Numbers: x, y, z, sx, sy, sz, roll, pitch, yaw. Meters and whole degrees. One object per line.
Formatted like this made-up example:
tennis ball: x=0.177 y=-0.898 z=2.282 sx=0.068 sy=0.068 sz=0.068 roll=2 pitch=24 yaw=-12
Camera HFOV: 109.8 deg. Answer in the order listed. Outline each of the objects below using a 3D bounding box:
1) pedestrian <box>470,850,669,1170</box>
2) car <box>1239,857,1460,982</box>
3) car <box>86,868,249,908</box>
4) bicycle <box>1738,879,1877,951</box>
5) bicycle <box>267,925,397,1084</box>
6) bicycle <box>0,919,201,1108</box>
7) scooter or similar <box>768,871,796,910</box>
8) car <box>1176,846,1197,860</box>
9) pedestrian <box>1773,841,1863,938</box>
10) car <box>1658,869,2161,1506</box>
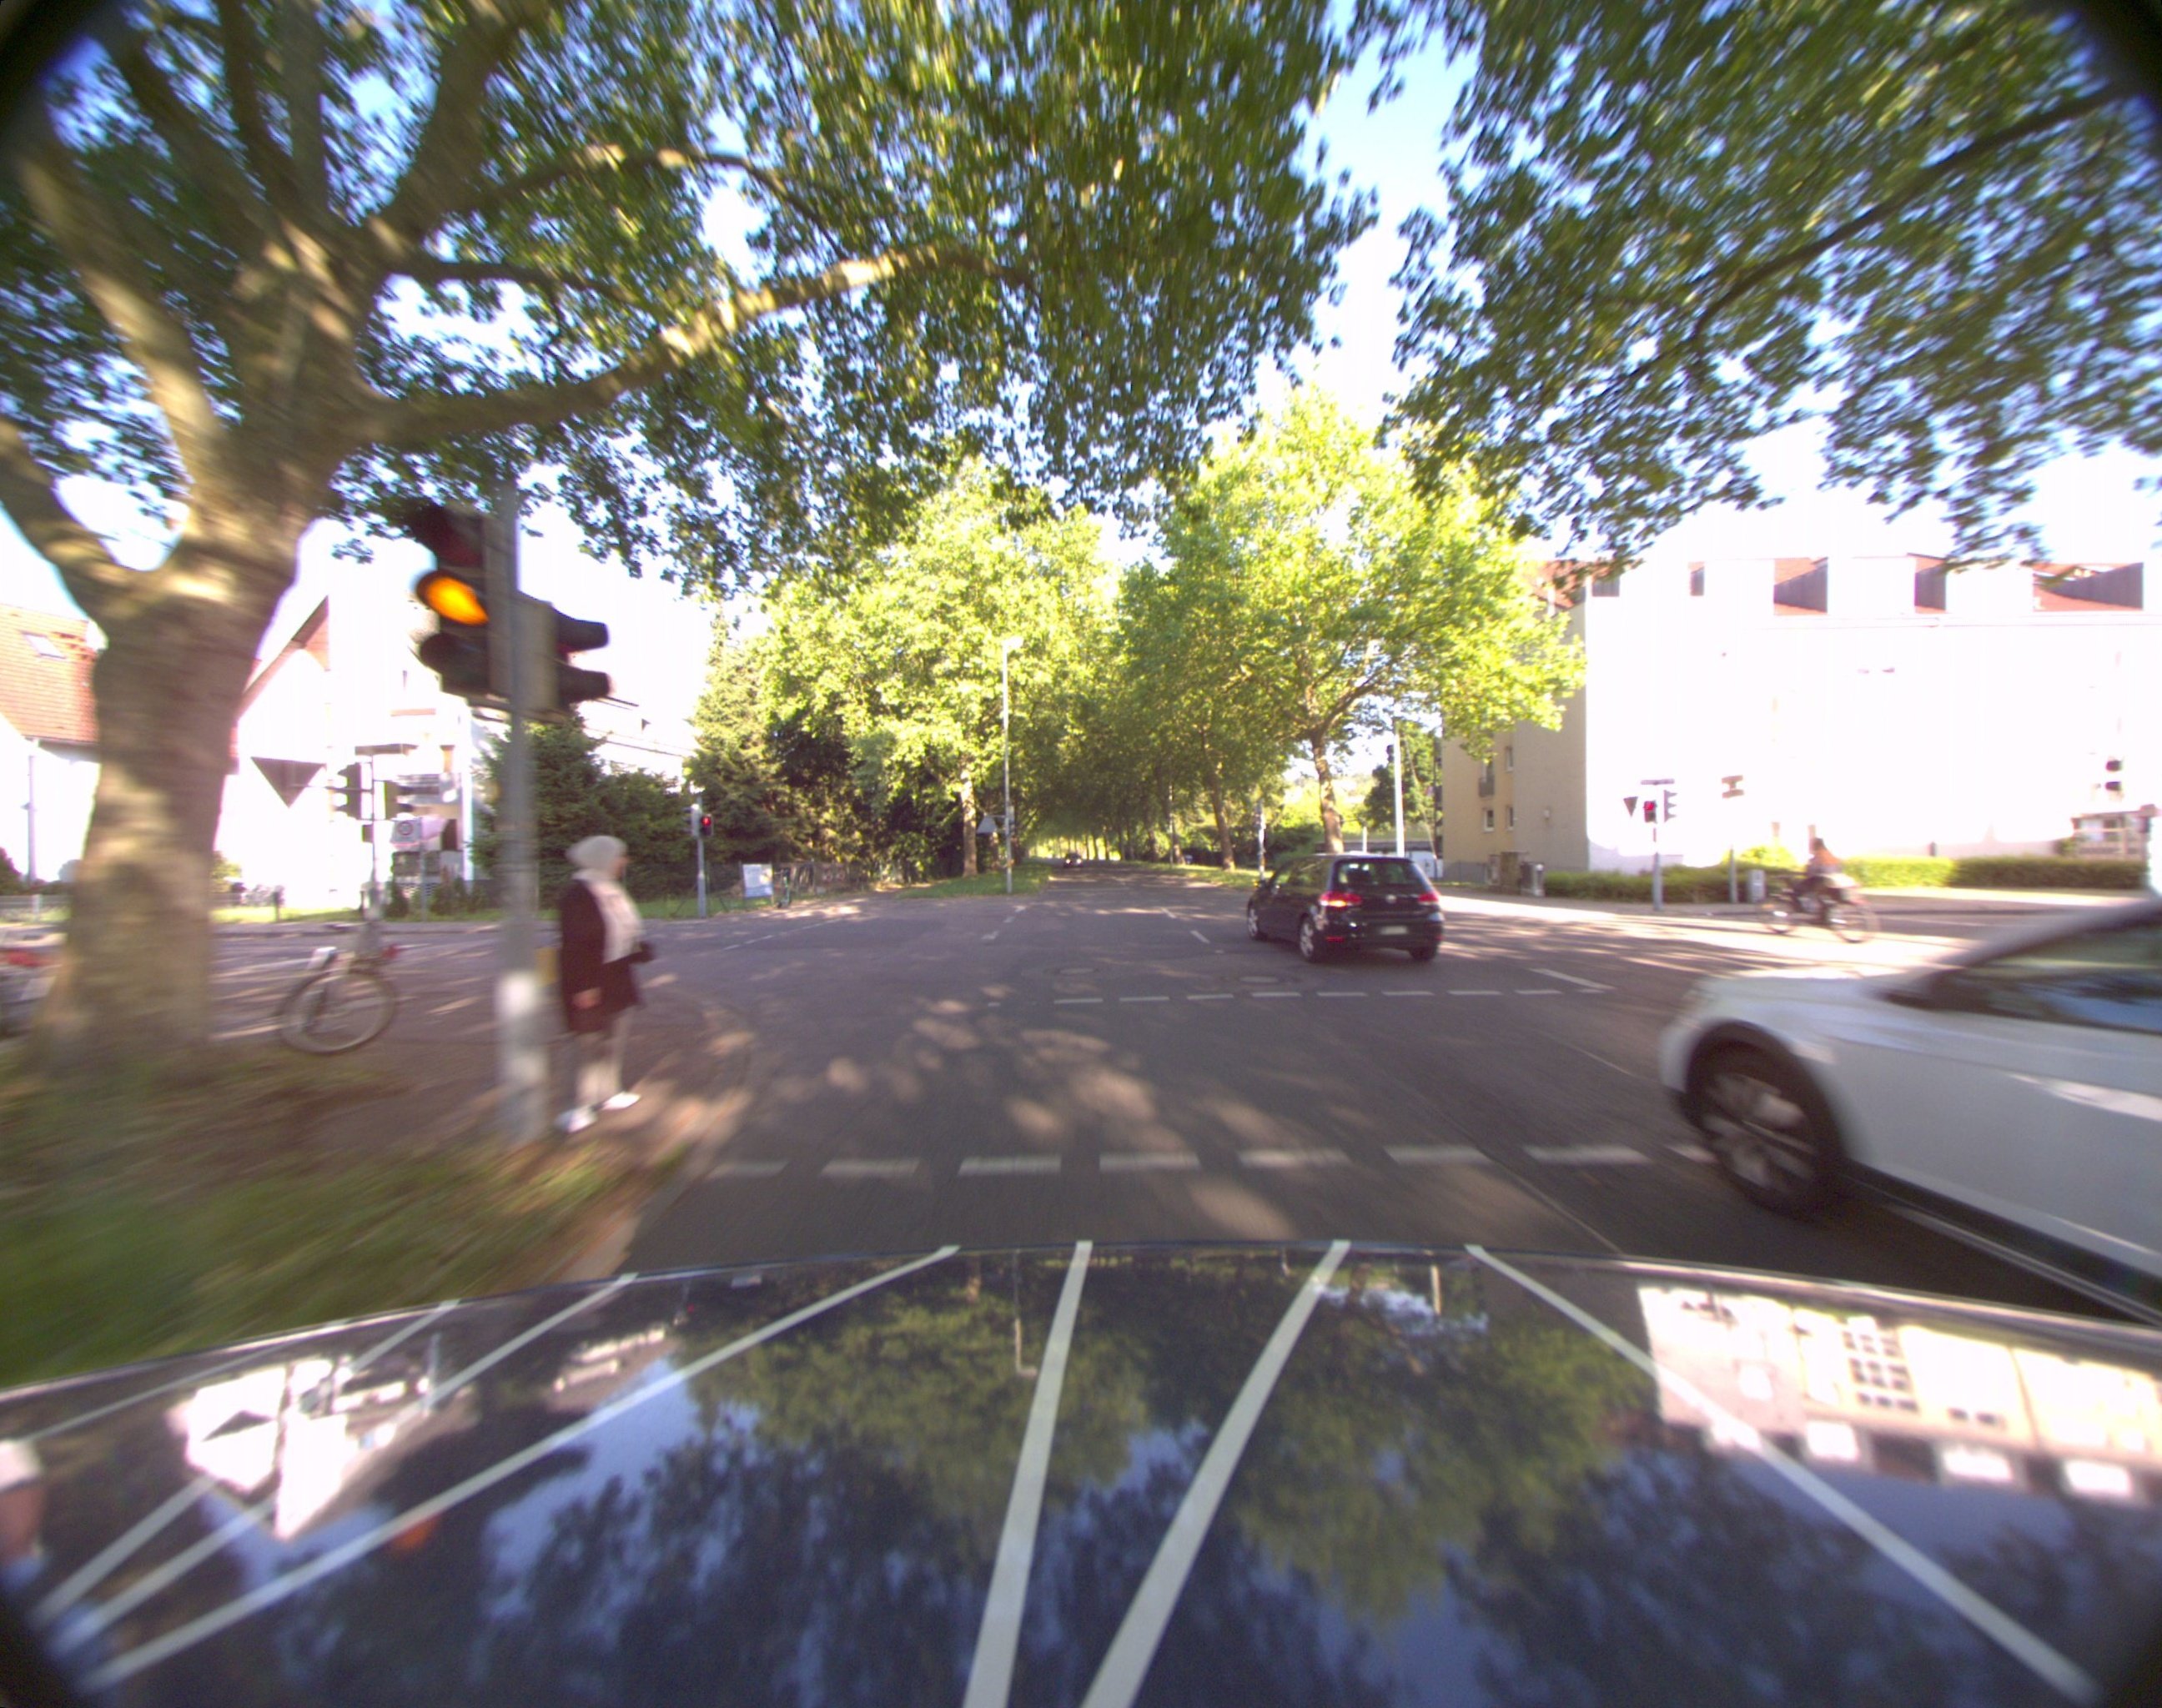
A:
pedestrian: x=-2.975 y=0.844 z=4.506 sx=0.636 sy=1.709 sz=0.825 roll=1 pitch=0 yaw=-6
car: x=3.711 y=0.808 z=11.328 sx=1.731 sy=1.455 sz=4.067 roll=-1 pitch=0 yaw=-2
car: x=-34.849 y=1.266 z=29.118 sx=1.702 sy=1.413 sz=3.589 roll=-1 pitch=-1 yaw=15
bicycle: x=12.315 y=0.985 z=12.984 sx=0.510 sy=1.036 sz=2.153 roll=-1 pitch=1 yaw=6
bicycle: x=-6.021 y=1.132 z=6.079 sx=1.715 sy=1.028 sz=0.447 roll=-1 pitch=-2 yaw=36
bicycle: x=-7.085 y=1.043 z=5.179 sx=0.447 sy=1.076 sz=2.005 roll=1 pitch=-1 yaw=-19
scooter or similar: x=-9.658 y=1.167 z=24.564 sx=0.383 sy=1.189 sz=1.255 roll=-2 pitch=0 yaw=-1
car: x=12.019 y=-0.140 z=87.033 sx=1.813 sy=1.521 sz=4.000 roll=-2 pitch=0 yaw=0
pedestrian: x=12.293 y=0.565 z=12.705 sx=0.510 sy=1.523 sz=1.034 roll=-1 pitch=3 yaw=6
car: x=3.501 y=0.848 z=1.488 sx=1.720 sy=1.492 sz=4.094 roll=-1 pitch=0 yaw=2
